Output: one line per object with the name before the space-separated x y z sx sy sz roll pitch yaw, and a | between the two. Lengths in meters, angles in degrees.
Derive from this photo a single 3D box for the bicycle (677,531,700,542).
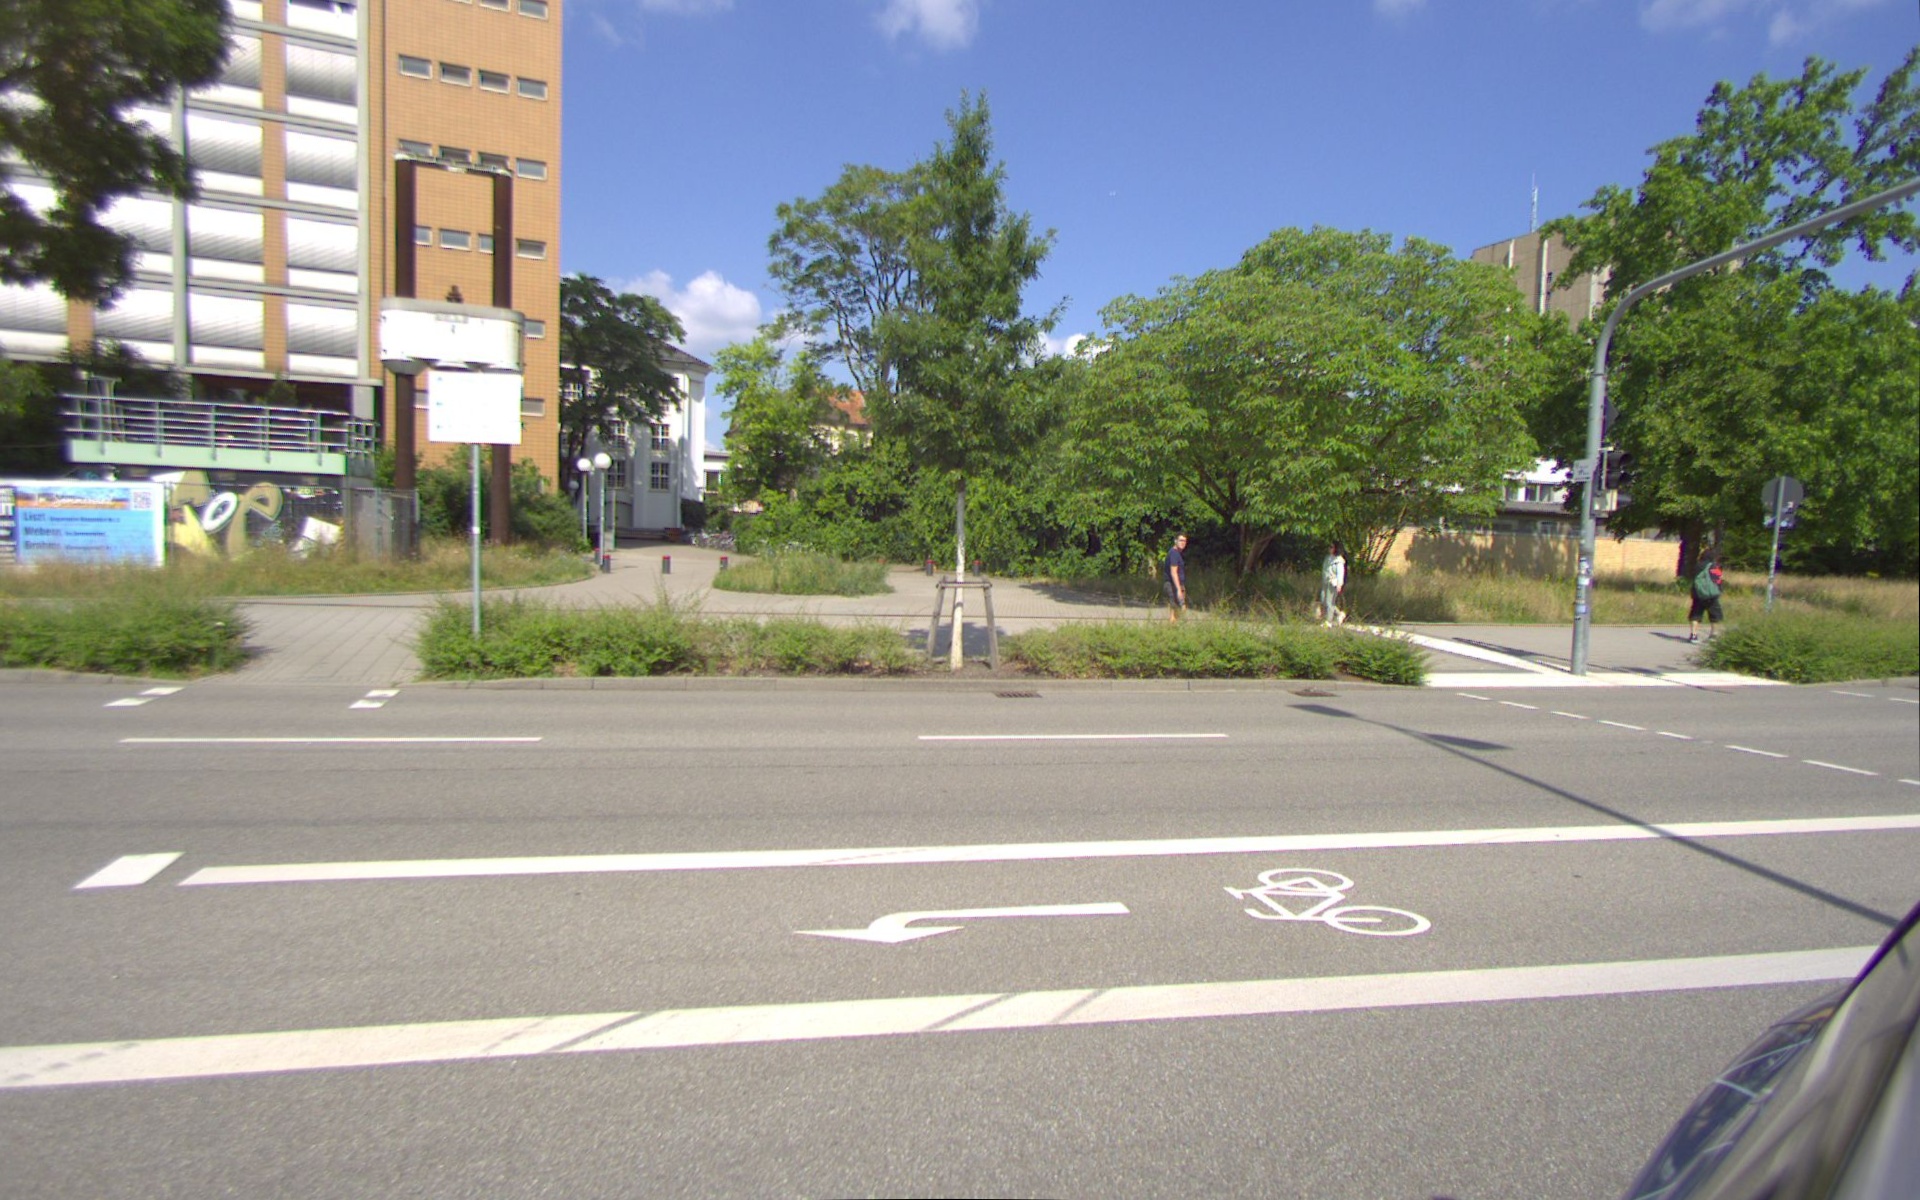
bicycle | -19.309 -4.527 71.998 1.526 0.728 0.510 0 3 -15

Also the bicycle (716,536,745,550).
bicycle | -12.548 -3.127 55.427 1.526 0.728 0.510 0 3 -15

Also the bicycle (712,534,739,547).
bicycle | -13.712 -3.503 59.175 1.526 0.728 0.510 0 3 -15

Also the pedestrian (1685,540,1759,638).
pedestrian | 13.953 -0.217 18.554 0.664 1.756 0.747 1 3 -14

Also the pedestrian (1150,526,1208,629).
pedestrian | 3.332 -0.348 15.454 0.540 1.526 0.774 1 3 -12

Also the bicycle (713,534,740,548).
bicycle | -13.442 -3.404 58.247 1.526 0.728 0.510 0 3 -15

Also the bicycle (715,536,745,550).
bicycle | -12.275 -3.052 54.044 1.526 0.728 0.510 0 3 -15

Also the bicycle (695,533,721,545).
bicycle | -15.521 -3.752 62.413 1.526 0.728 0.510 0 3 -15

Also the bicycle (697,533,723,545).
bicycle | -15.717 -3.835 63.598 1.526 0.728 0.510 0 3 -15

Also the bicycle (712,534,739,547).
bicycle | -13.904 -3.542 59.893 1.526 0.728 0.510 0 3 -15

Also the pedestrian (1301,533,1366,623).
pedestrian | 7.051 -0.427 19.117 0.705 1.658 0.873 1 3 -16

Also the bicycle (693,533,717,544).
bicycle | -16.912 -4.095 67.228 1.526 0.728 0.510 0 3 -15

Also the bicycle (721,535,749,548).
bicycle | -12.663 -3.292 56.935 1.526 0.728 0.510 0 3 -15

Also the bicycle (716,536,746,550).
bicycle | -12.405 -3.103 54.816 1.526 0.728 0.510 0 3 -15
